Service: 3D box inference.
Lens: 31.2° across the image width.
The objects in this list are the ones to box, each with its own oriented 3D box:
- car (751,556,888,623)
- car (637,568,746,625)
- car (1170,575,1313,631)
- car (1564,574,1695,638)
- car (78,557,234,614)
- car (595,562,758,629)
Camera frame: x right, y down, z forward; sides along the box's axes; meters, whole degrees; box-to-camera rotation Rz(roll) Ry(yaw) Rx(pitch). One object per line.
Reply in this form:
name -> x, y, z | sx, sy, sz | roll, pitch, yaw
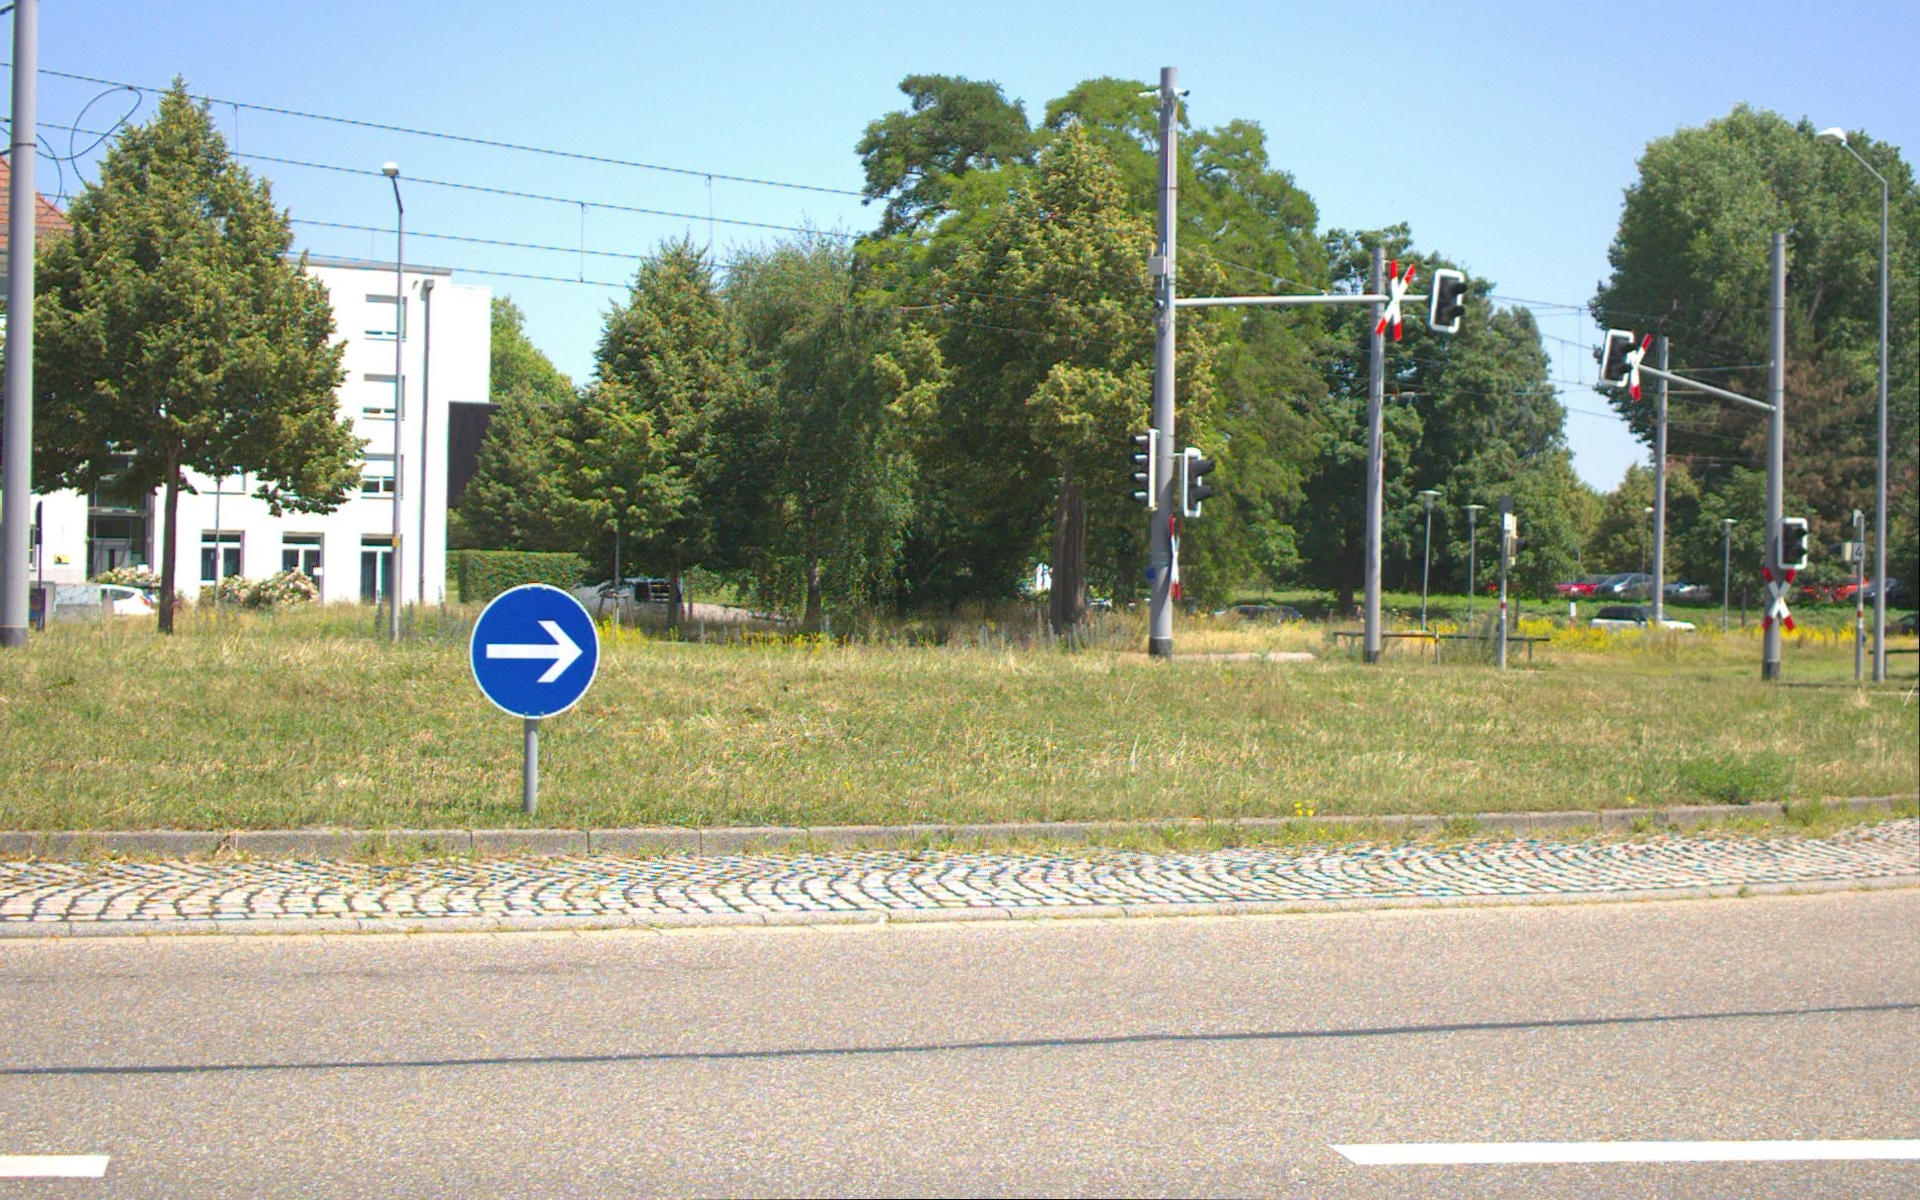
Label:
car -> -4.596, -0.343, 112.560 | 3.990, 2.007, 1.998 | 2, -1, 17
car -> -10.410, -0.130, 133.500 | 3.987, 2.007, 2.000 | 2, -1, 1
car -> 8.798, 0.085, 107.560 | 3.991, 1.569, 1.998 | 2, -1, 22
car -> 22.887, 0.198, 117.542 | 3.992, 2.007, 1.997 | 2, -1, 25
car -> -22.545, -0.403, 96.411 | 3.887, 1.415, 1.716 | 3, -1, -27
car -> -7.868, -0.123, 95.498 | 3.986, 1.678, 2.000 | 3, -1, -27
